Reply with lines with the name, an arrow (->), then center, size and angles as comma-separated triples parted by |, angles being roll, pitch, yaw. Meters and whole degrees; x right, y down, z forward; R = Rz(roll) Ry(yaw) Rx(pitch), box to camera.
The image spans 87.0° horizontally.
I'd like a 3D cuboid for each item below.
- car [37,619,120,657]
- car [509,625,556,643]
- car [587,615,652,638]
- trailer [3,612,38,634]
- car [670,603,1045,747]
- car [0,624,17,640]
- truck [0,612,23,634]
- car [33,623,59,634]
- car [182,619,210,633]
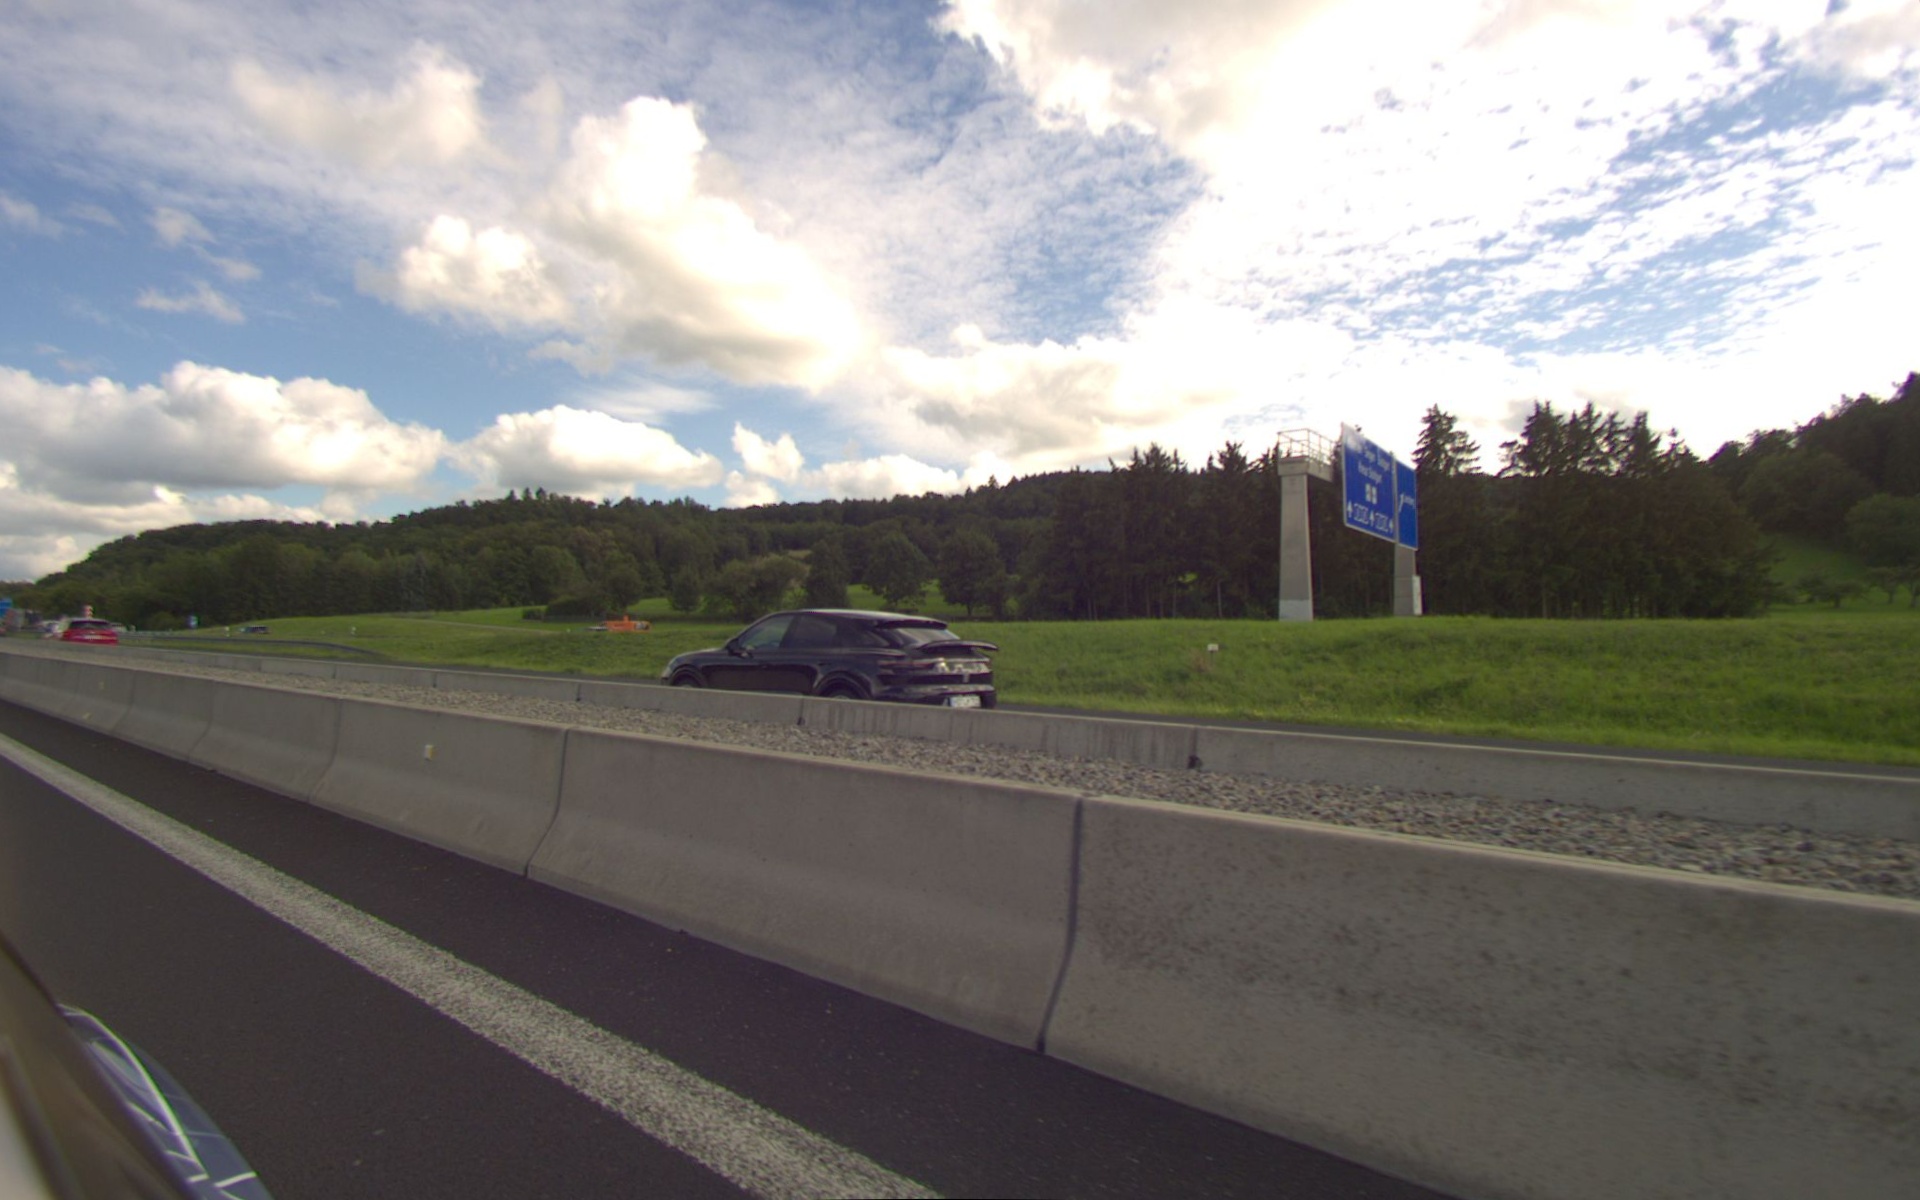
car -> -35.062, 1.488, 40.216 | 4.796, 1.409, 1.769 | -1, -3, 40
car -> -40.036, 3.169, 94.684 | 4.879, 1.560, 1.757 | -1, -3, 35
car -> -23.980, 1.850, 71.203 | 4.879, 1.560, 1.757 | -1, -3, 35
trailer -> -161.998, 3.944, 174.435 | 13.219, 3.765, 1.975 | -1, -3, 36
car -> -1.379, 0.795, 12.140 | 4.619, 1.409, 1.769 | -1, -3, 40
car -> -87.558, 2.943, 92.366 | 4.155, 1.409, 1.710 | -1, -3, 40
truck -> -167.103, 4.016, 178.210 | 5.139, 3.790, 1.976 | -1, -3, 36
car -> -136.870, 4.256, 151.525 | 4.879, 1.560, 1.757 | -1, -3, 35
car -> -107.141, 3.640, 141.895 | 3.993, 2.029, 1.975 | -1, -3, 37
